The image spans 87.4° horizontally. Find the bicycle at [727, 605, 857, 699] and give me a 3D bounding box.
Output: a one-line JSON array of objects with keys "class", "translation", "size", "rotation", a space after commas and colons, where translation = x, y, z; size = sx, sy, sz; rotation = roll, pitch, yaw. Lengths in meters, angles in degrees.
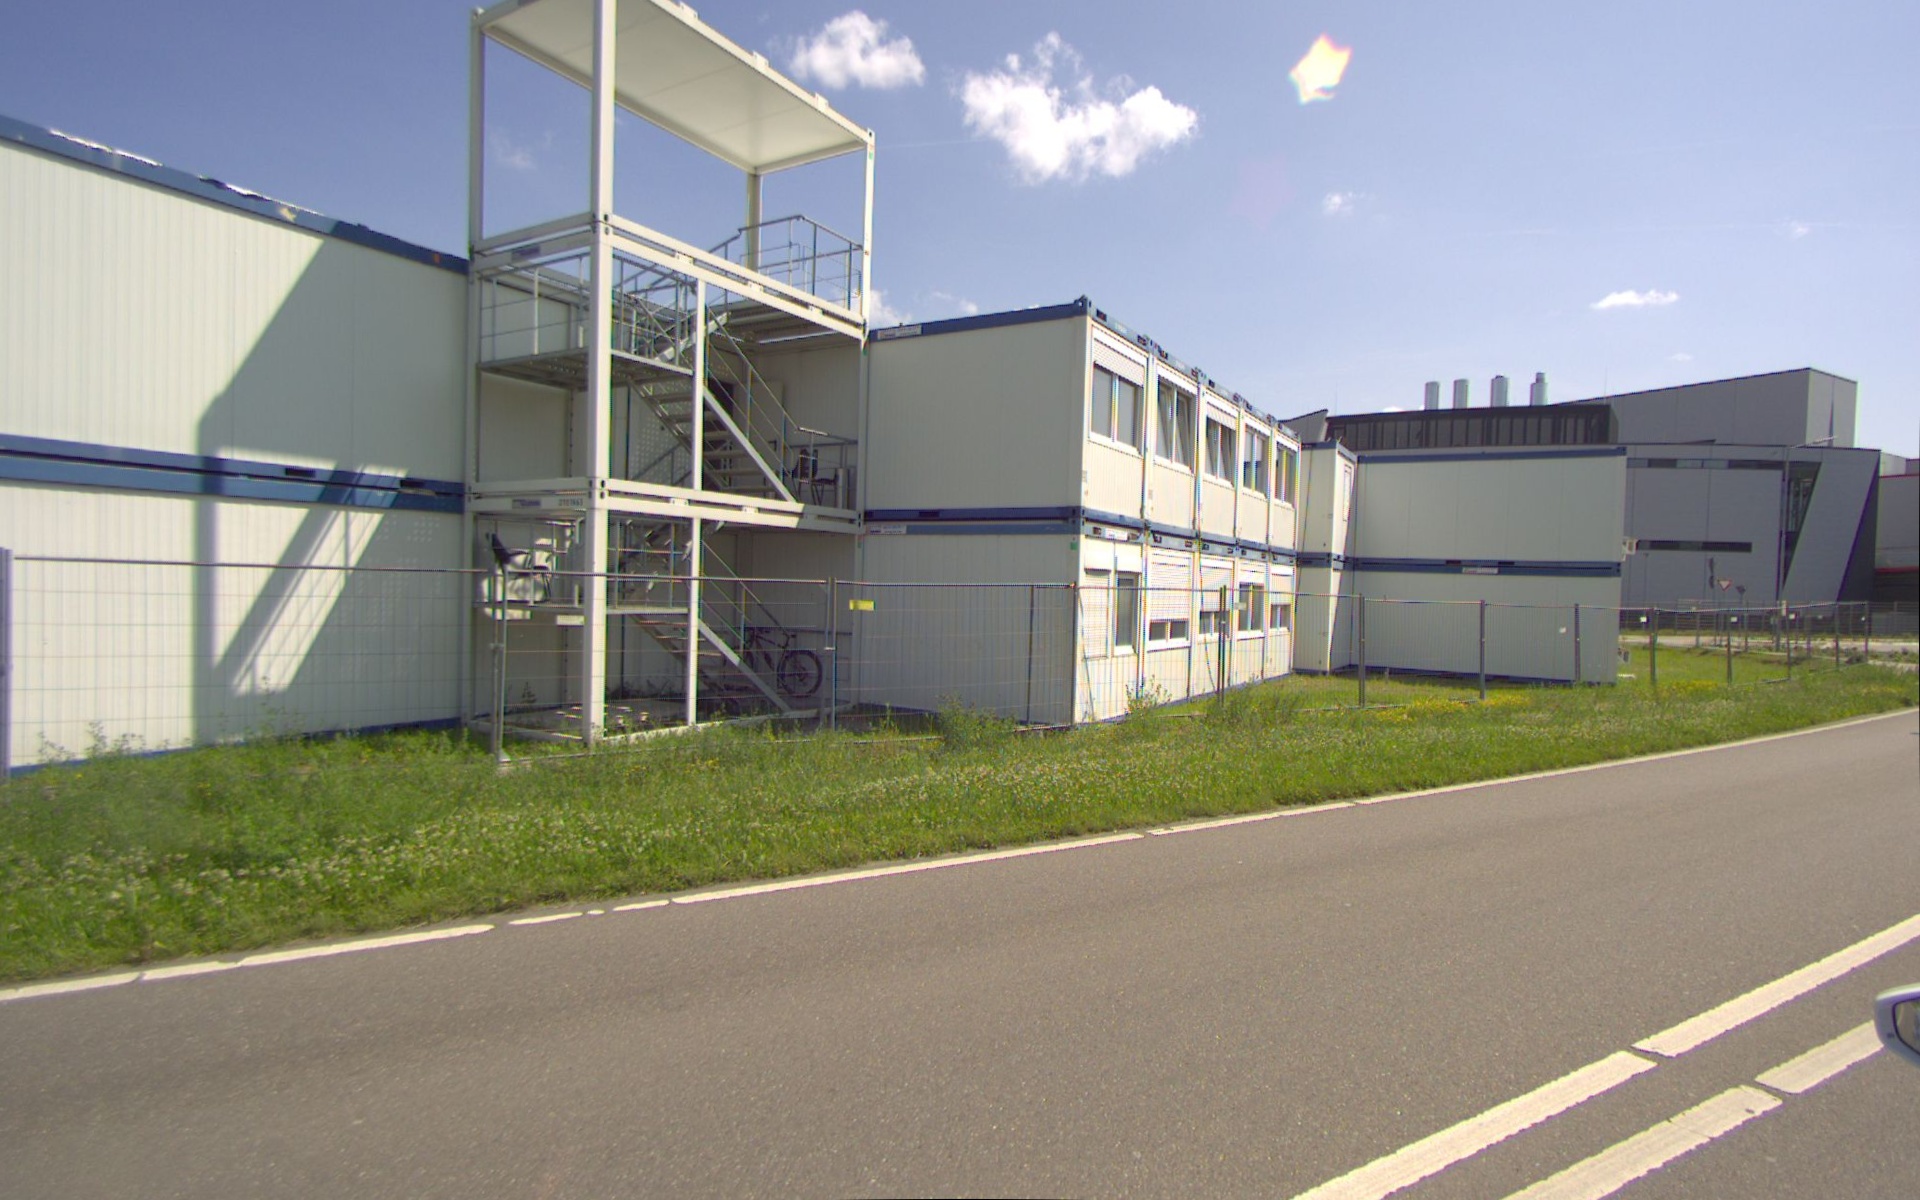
[{"class": "bicycle", "translation": [-2.580, 0.767, 15.336], "size": [2.010, 1.318, 0.607], "rotation": [1, 0, 31]}]
